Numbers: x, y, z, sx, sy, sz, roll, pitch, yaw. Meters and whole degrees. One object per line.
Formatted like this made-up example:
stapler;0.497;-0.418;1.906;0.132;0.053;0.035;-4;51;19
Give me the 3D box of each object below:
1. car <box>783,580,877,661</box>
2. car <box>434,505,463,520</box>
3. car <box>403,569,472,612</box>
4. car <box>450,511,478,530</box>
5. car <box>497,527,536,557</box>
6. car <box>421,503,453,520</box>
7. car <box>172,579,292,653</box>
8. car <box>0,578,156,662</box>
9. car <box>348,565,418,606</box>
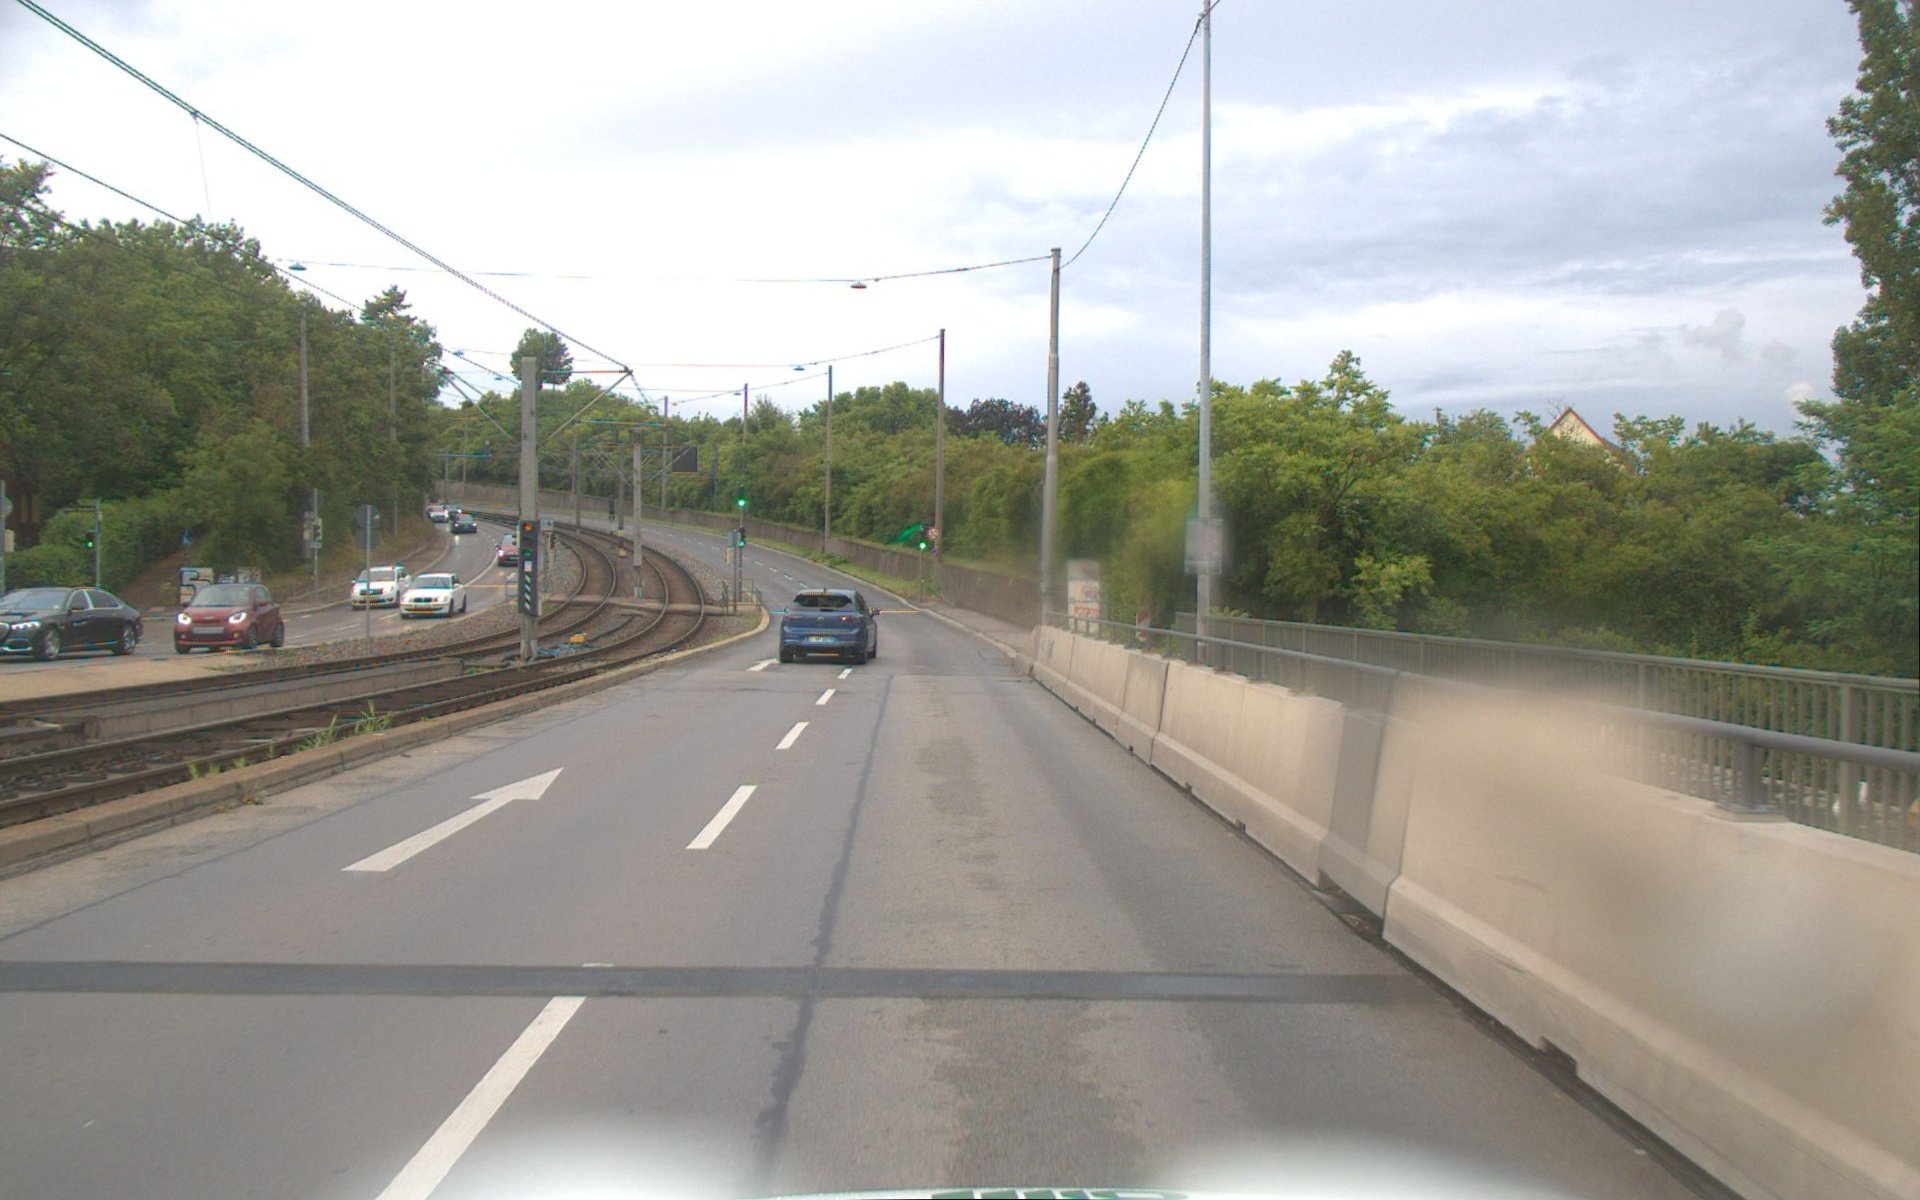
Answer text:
car;-2.609;0.391;33.957;1.728;1.527;3.998;1;0;-2
car;-49.974;-8.527;161.566;1.619;1.408;3.849;-4;5;-34
car;-18.419;-0.316;58.415;1.698;1.462;4.481;-1;0;-10
car;-40.306;-6.459;134.340;1.693;1.483;4.247;-2;4;-23
car;-25.052;-3.313;93.590;1.815;1.625;4.720;-1;3;-11
car;-48.652;-8.258;153.811;1.800;1.403;4.660;-3;5;-30
car;-16.558;0.329;37.740;1.569;1.519;3.015;-1;2;-5
car;-19.016;0.418;34.608;1.929;1.625;5.183;-1;0;-1
car;-22.470;-0.569;64.562;1.787;1.541;4.520;0;0;-9
